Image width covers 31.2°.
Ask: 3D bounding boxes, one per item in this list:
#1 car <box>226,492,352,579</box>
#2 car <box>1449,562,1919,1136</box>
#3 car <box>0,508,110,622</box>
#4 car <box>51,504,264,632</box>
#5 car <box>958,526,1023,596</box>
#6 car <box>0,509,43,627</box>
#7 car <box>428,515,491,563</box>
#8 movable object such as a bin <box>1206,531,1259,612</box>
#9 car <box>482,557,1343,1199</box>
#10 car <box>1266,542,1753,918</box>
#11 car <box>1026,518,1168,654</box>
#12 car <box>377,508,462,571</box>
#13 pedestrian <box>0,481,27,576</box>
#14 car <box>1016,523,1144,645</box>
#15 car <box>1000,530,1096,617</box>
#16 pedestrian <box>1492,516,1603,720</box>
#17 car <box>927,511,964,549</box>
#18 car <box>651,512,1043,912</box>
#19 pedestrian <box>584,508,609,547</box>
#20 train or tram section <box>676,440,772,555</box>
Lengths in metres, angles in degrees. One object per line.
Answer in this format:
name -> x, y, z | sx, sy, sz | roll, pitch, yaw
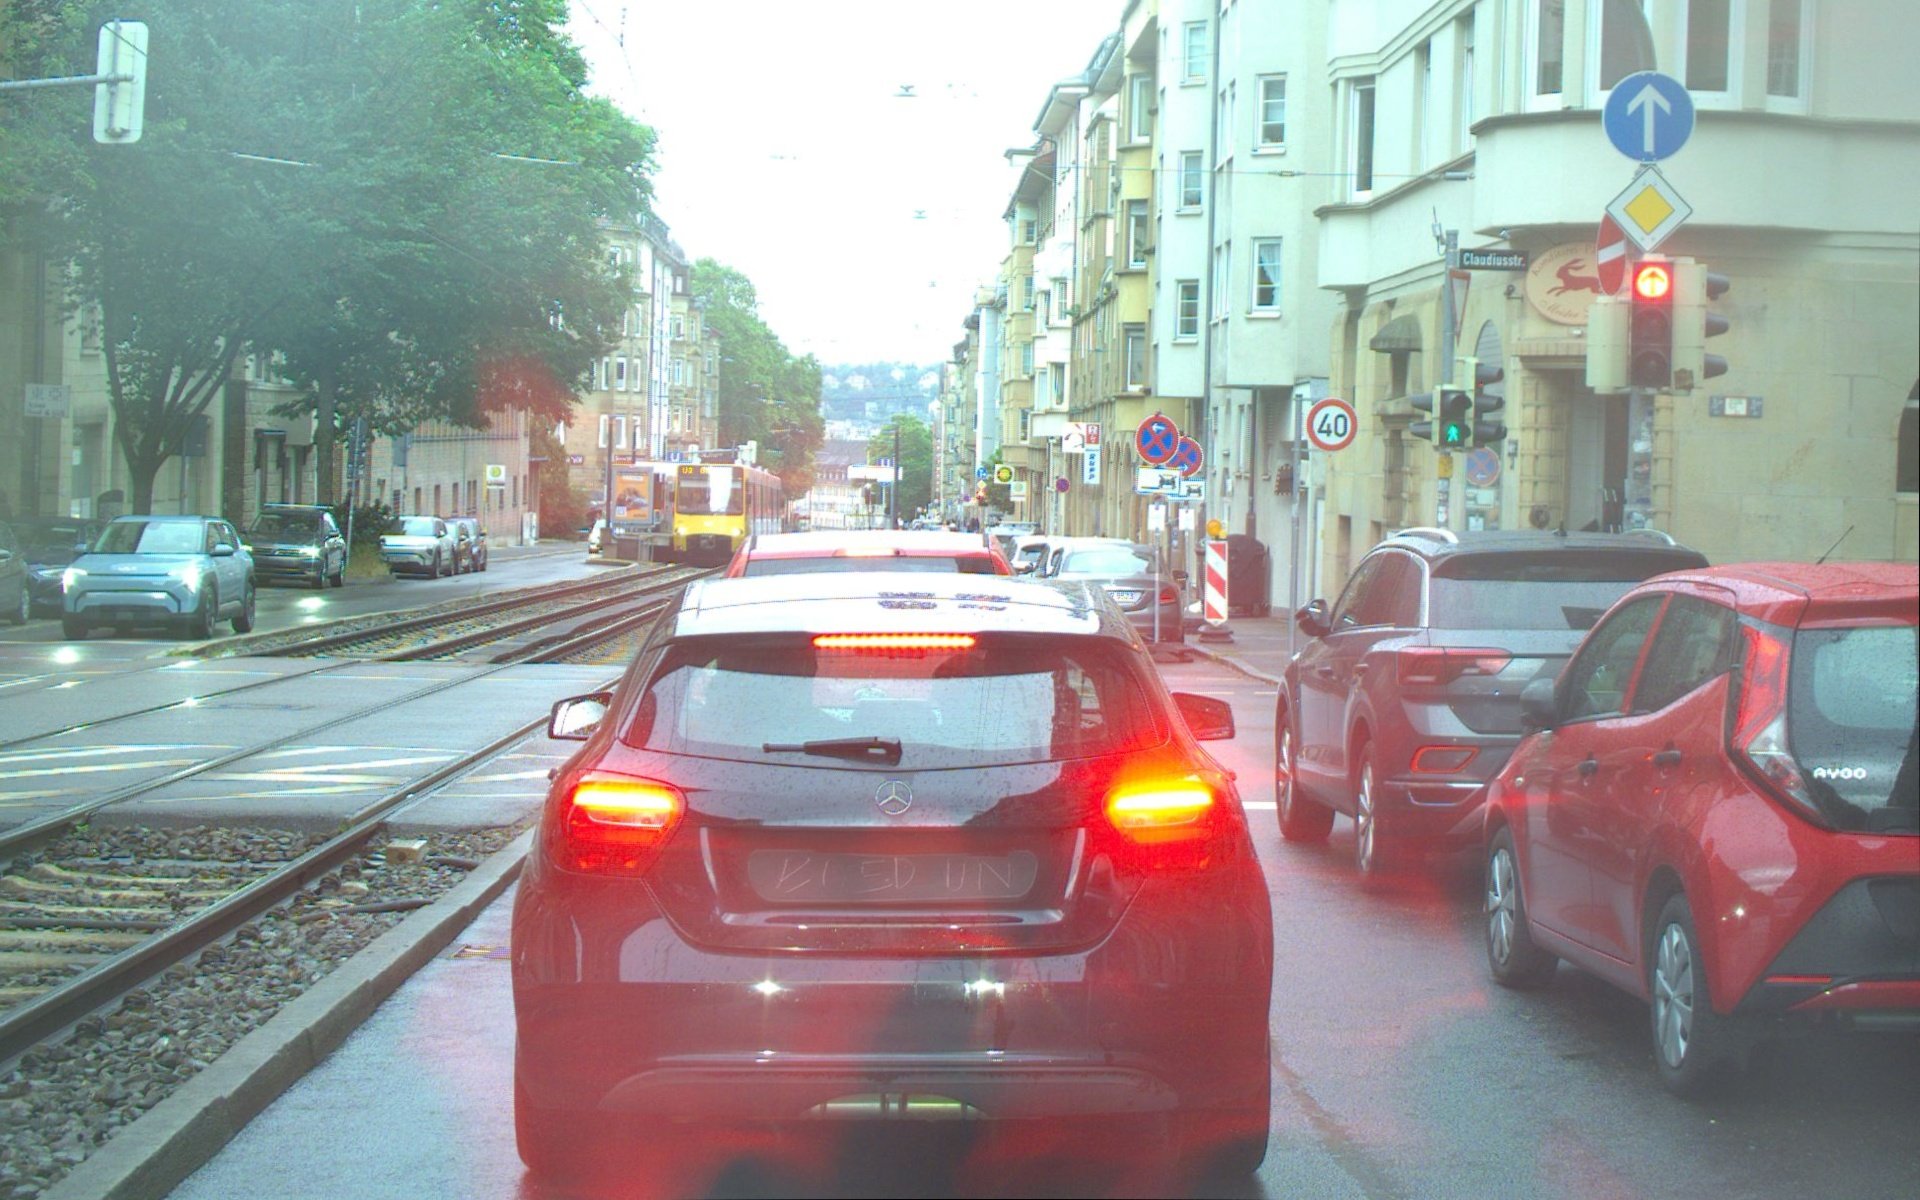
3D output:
car -> -13.956, -1.328, 71.704 | 1.875, 1.731, 3.918 | 1, 0, -1
car -> 2.646, 0.635, 10.526 | 1.642, 1.443, 3.299 | 1, 1, -3
car -> -13.737, -0.524, 50.725 | 1.716, 1.605, 3.919 | 1, 0, -5
car -> -10.460, -0.417, 45.081 | 1.898, 1.582, 3.973 | 1, 0, -1
car -> 0.635, -0.849, 73.595 | 1.294, 1.437, 2.929 | 1, 1, -1
car -> -13.484, -0.436, 45.695 | 1.752, 1.547, 4.036 | 1, 0, -4
car -> -14.336, -1.729, 98.576 | 1.448, 1.326, 3.272 | 1, 0, -2
movable object such as a bin -> 4.712, -0.493, 59.573 | 0.878, 1.384, 0.982 | 1, 0, 3
car -> -0.129, 0.639, 9.458 | 1.829, 1.453, 4.104 | 1, 1, -1
car -> 2.383, 0.492, 15.765 | 1.544, 1.481, 3.830 | 1, 1, -1
car -> 1.667, -0.204, 42.642 | 1.544, 1.585, 3.548 | 1, 1, -1
car -> -13.993, -1.543, 89.167 | 1.589, 1.575, 3.918 | 1, 0, -1
pedestrian -> -16.815, -1.255, 60.577 | 0.631, 1.667, 0.703 | 1, 0, -9
car -> 1.611, -0.240, 47.117 | 1.544, 1.585, 3.548 | 1, 1, -1
car -> 1.553, -0.492, 61.526 | 1.544, 1.481, 3.548 | 1, 1, -1
pedestrian -> 5.123, 0.150, 30.049 | 0.741, 1.742, 1.111 | 1, 0, -1
car -> -0.647, -3.123, 153.255 | 1.544, 1.630, 3.686 | 1, 1, -2
car -> -0.482, 0.437, 15.845 | 1.565, 1.604, 3.814 | 1, 0, -1
pedestrian -> -18.327, -3.639, 173.244 | 1.053, 1.951, 1.043 | 2, 1, 1
train or tram section -> -8.311, -3.555, 122.116 | 2.783, 3.847, 10.430 | 1, 0, -1
